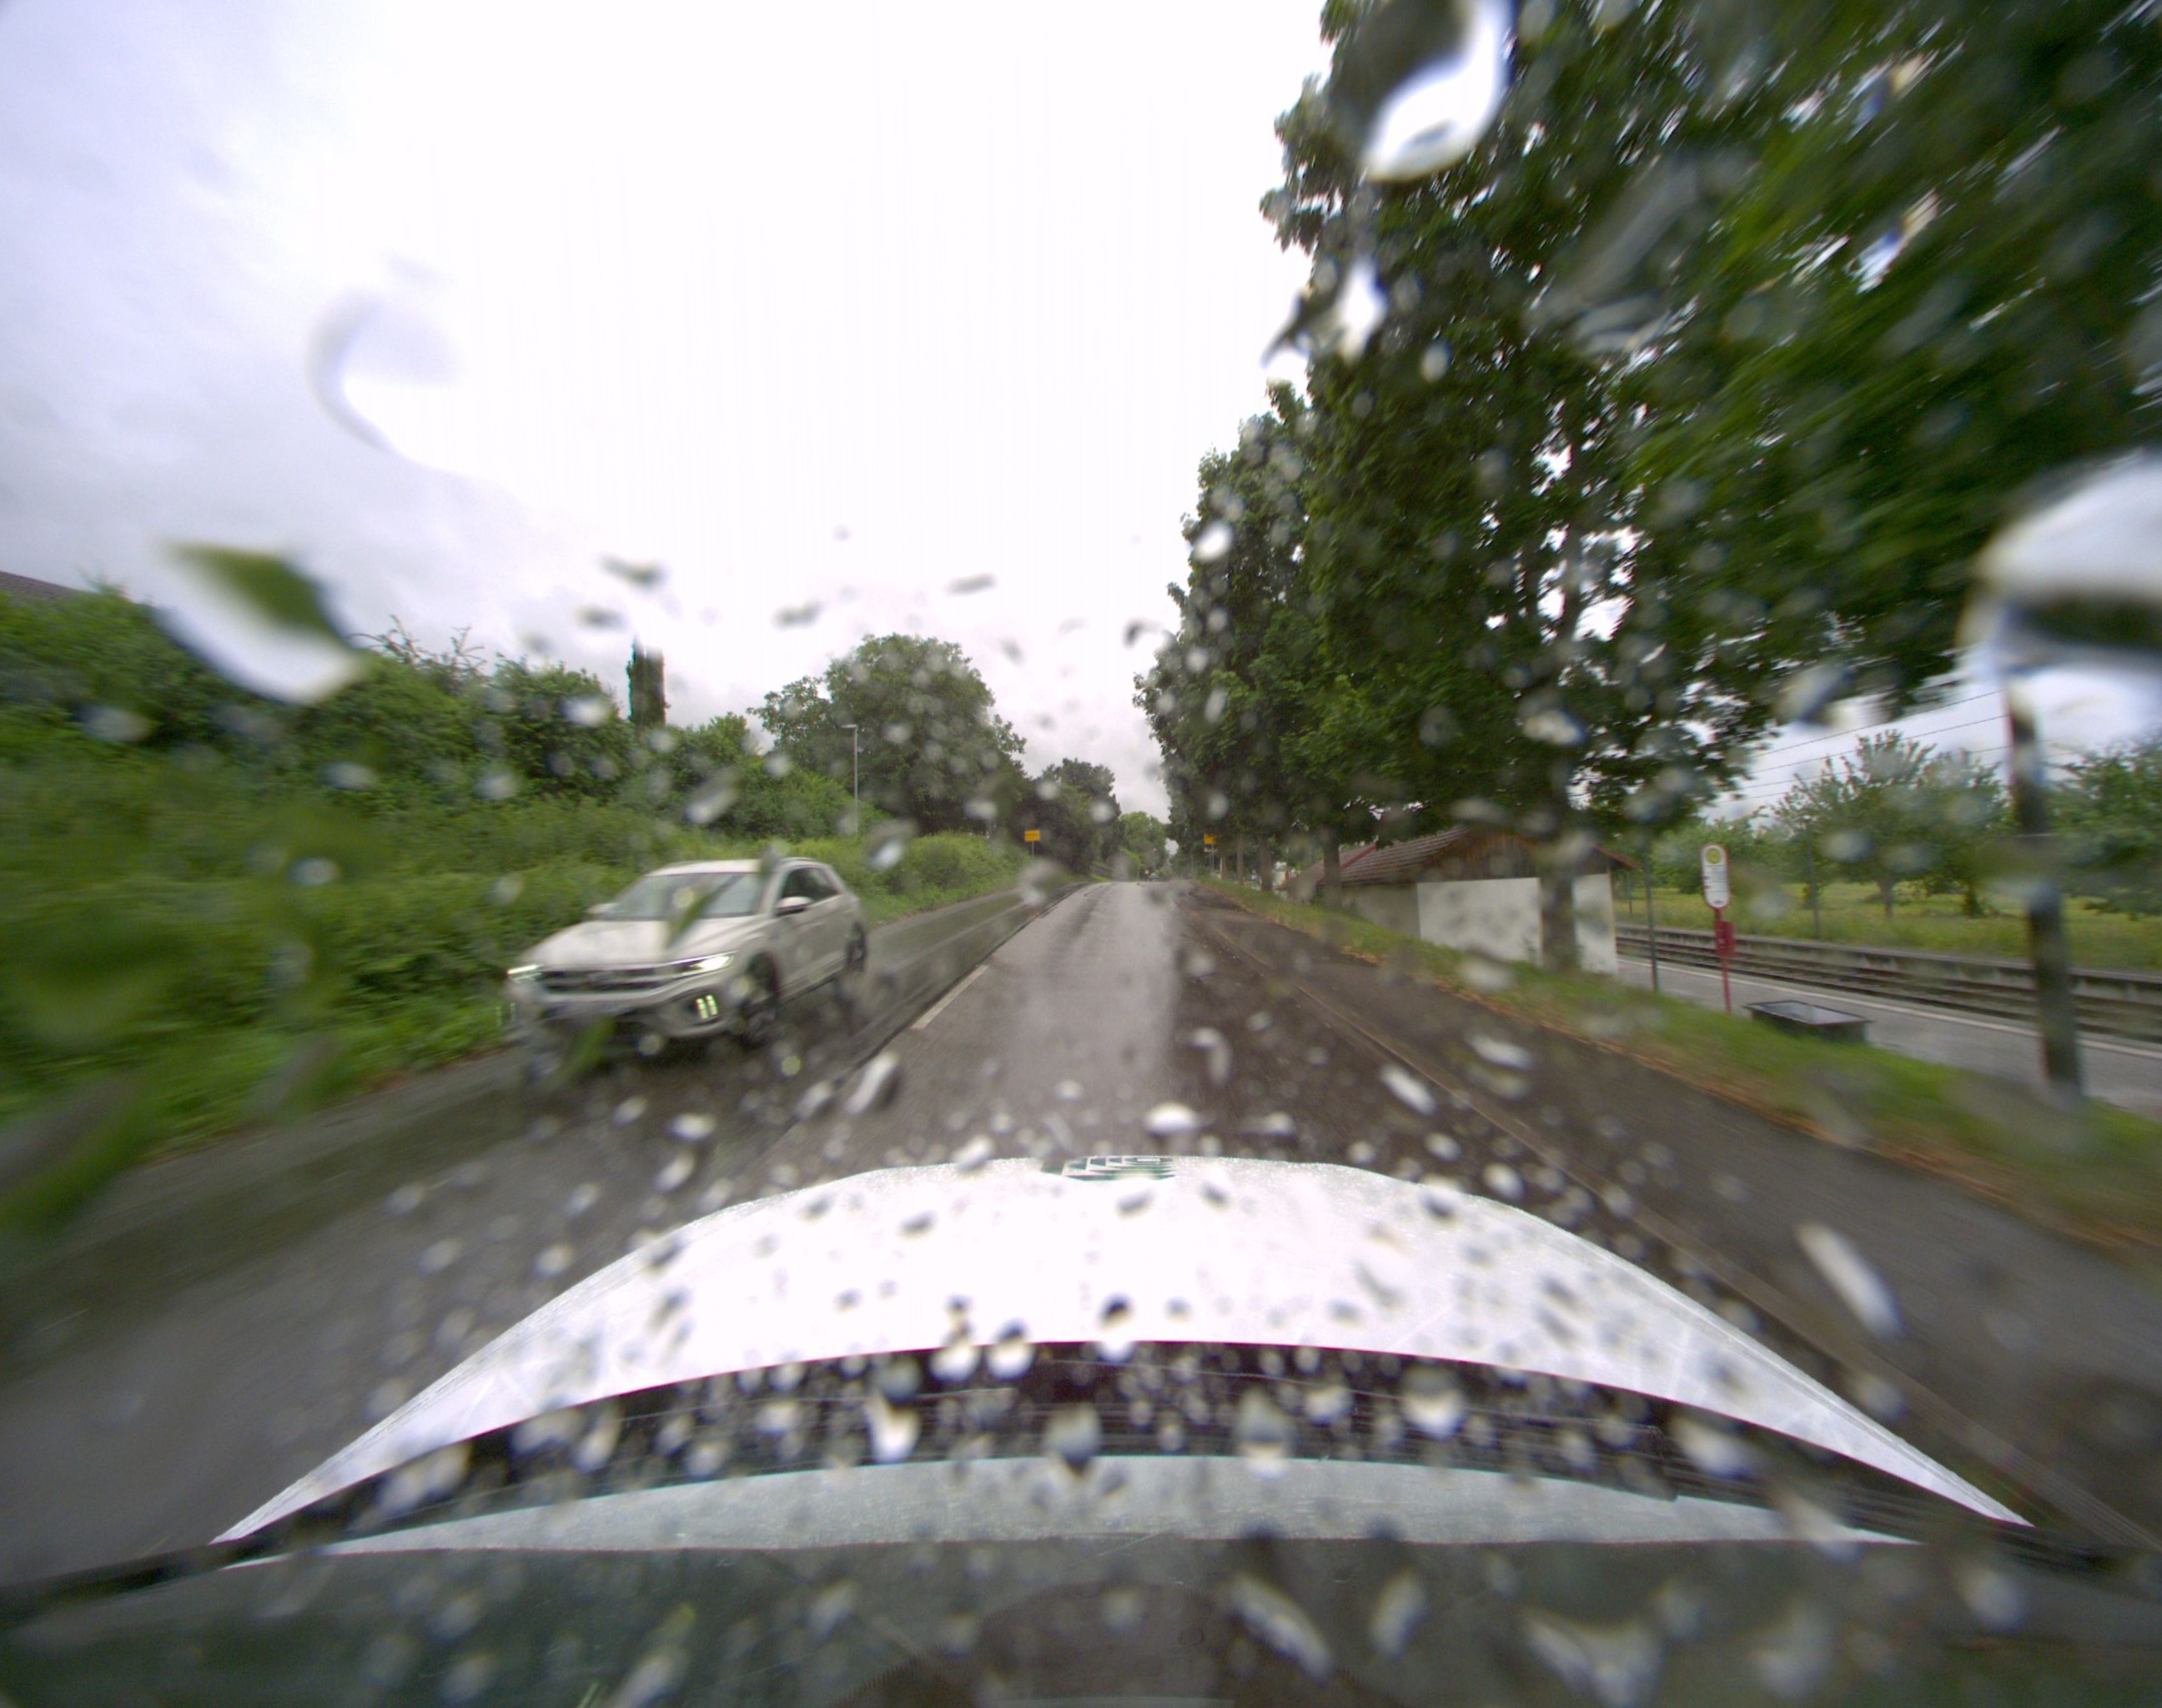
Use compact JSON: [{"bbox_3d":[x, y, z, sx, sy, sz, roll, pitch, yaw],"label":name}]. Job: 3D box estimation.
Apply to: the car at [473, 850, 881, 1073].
[{"bbox_3d":[-3.431,0.776,7.920,1.774,1.504,4.003,-2,1,2],"label":"car"}]
